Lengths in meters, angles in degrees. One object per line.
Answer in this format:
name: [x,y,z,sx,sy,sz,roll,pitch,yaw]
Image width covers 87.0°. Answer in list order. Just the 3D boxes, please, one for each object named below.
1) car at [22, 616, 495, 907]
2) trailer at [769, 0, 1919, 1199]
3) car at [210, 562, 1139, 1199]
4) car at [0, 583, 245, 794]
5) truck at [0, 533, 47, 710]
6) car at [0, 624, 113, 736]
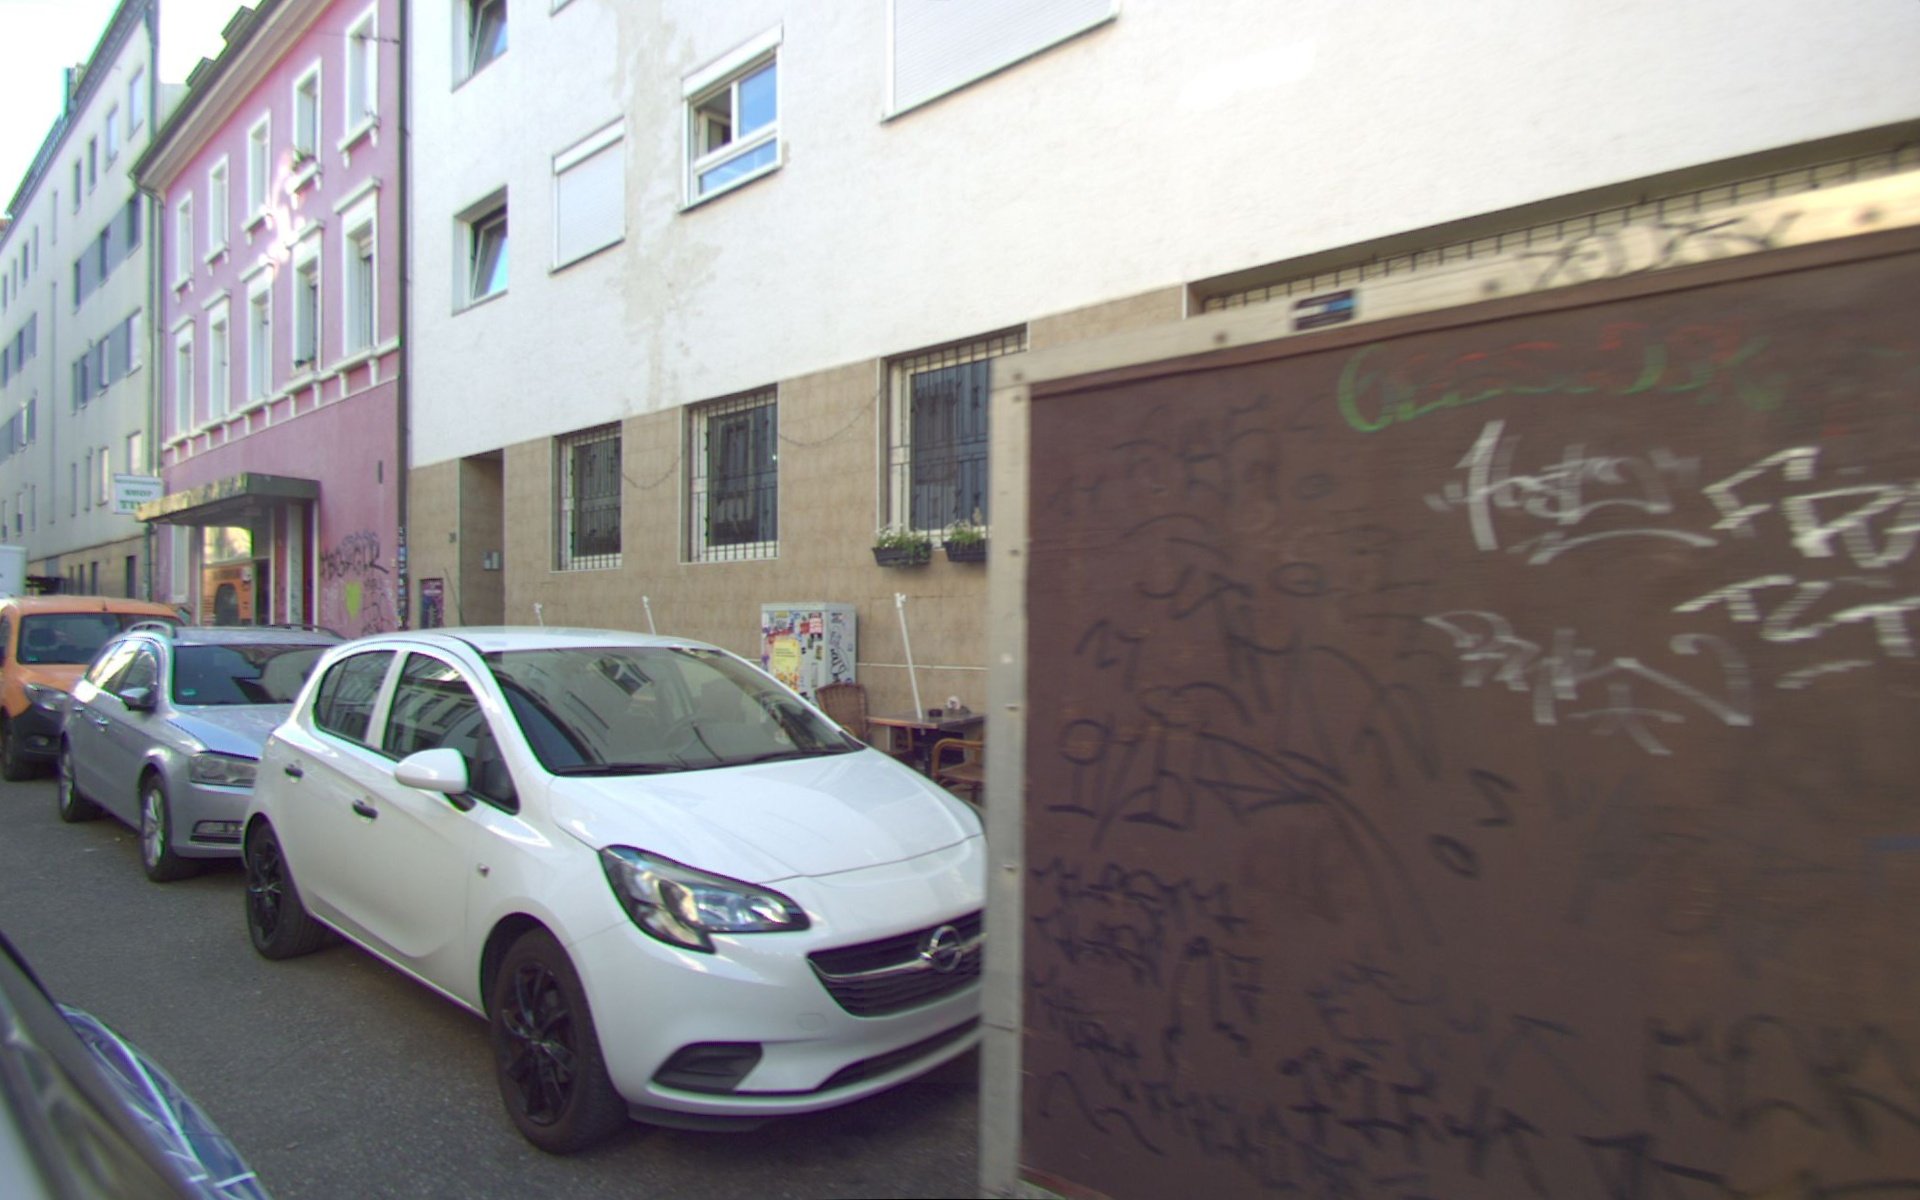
car: [-5.295,0.892,7.373,4.527,1.508,1.656,-1,-3,40]
trailer: [1.902,0.427,1.052,4.357,2.077,1.646,-1,-3,38]
car: [-1.384,0.751,4.006,3.815,1.566,1.660,-1,-3,40]
car: [-9.494,0.820,10.972,4.240,1.859,1.784,-1,-2,40]
truck: [-20.423,0.414,20.292,7.041,3.207,2.267,-1,-2,41]
car: [-14.062,1.112,14.999,3.657,1.477,1.666,-1,-2,40]
